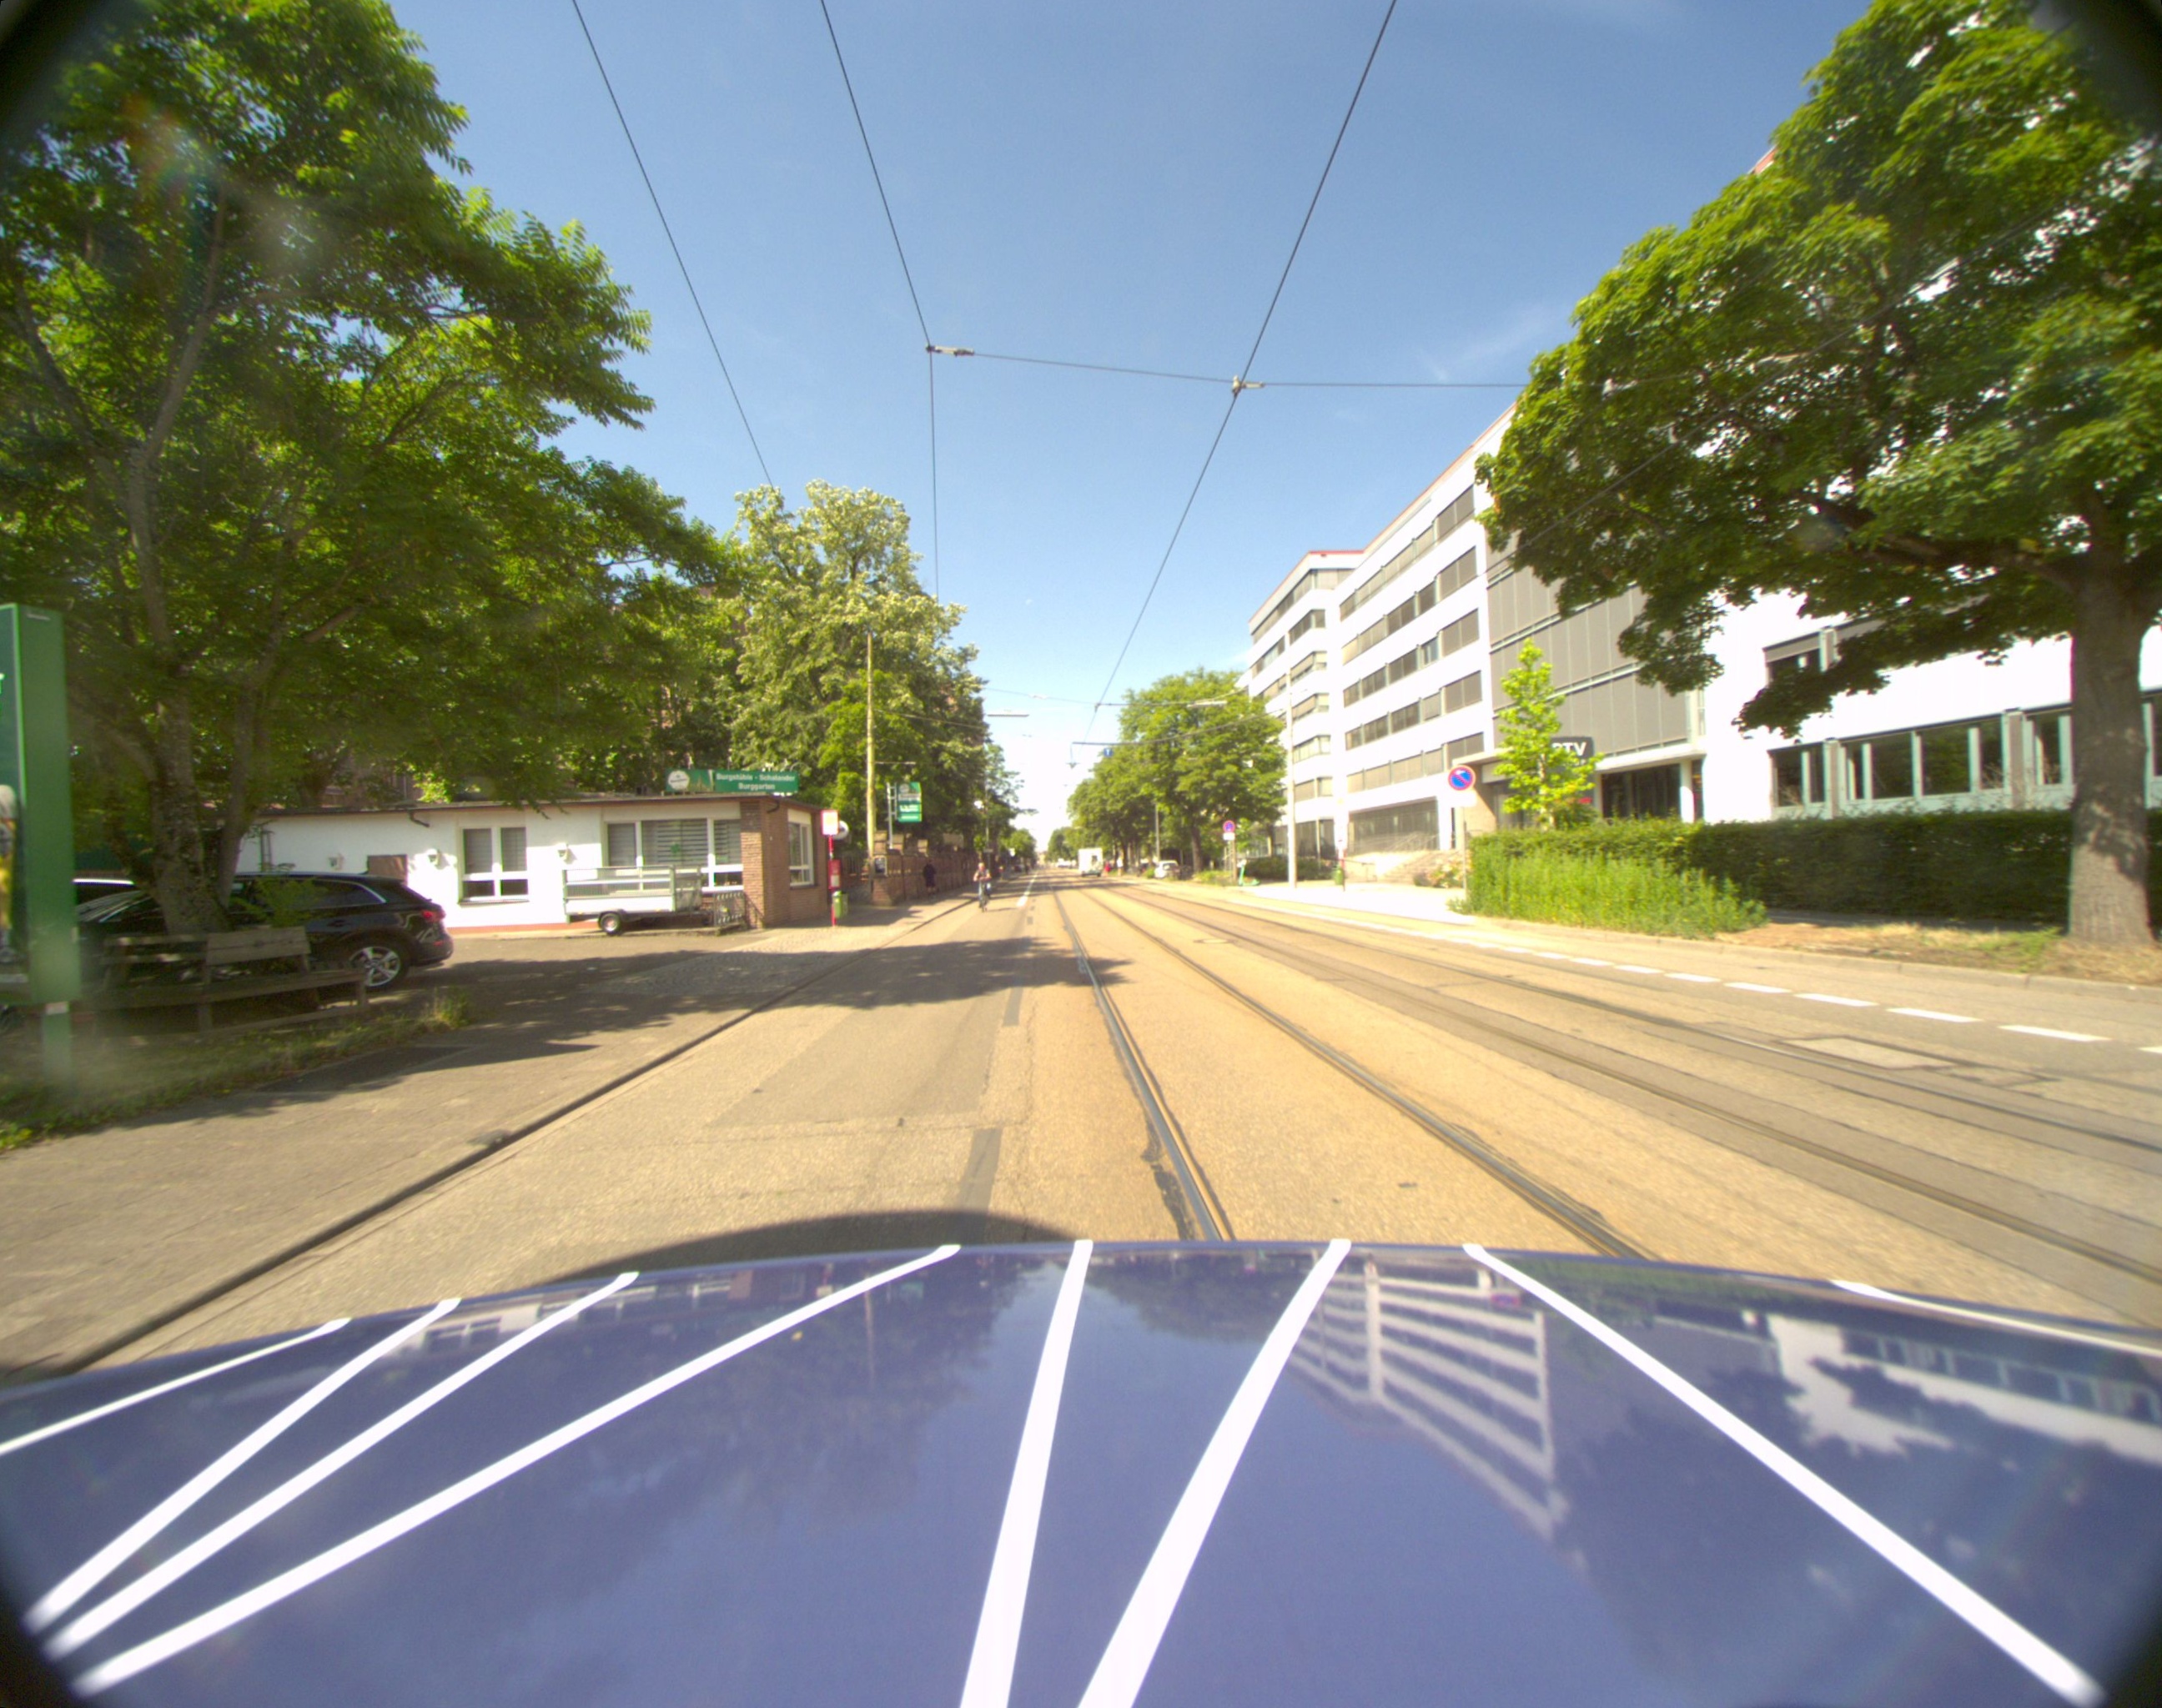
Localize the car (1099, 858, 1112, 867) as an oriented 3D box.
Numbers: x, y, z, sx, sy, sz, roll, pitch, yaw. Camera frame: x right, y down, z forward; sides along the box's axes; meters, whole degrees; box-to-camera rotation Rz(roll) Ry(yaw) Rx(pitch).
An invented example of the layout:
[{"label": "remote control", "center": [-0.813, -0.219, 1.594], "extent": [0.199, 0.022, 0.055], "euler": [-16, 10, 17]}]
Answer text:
[{"label": "car", "center": [4.015, 1.396, 123.614], "extent": [1.634, 1.347, 3.900], "euler": [-2, 0, -4]}]

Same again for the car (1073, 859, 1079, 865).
[{"label": "car", "center": [-1.410, 2.399, 228.290], "extent": [1.634, 1.935, 4.113], "euler": [-2, 0, -2]}]

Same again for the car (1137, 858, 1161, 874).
[{"label": "car", "center": [6.659, 1.173, 74.471], "extent": [1.634, 1.474, 4.271], "euler": [-2, 0, -5]}]

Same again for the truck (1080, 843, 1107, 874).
[{"label": "truck", "center": [1.237, 0.480, 79.645], "extent": [2.409, 3.090, 6.036], "euler": [-2, 0, -2]}]

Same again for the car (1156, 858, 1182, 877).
[{"label": "car", "center": [7.167, 1.090, 62.183], "extent": [1.634, 1.463, 3.630], "euler": [-2, 0, -1]}]

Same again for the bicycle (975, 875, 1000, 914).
[{"label": "bicycle", "center": [-3.241, 1.389, 26.502], "extent": [0.611, 1.190, 2.122], "euler": [-5, 0, -4]}]

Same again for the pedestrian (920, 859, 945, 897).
[{"label": "pedestrian", "center": [-7.238, 1.152, 37.103], "extent": [0.979, 1.805, 1.184], "euler": [2, 0, -2]}]

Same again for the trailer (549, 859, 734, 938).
[{"label": "trailer", "center": [-10.312, 1.011, 18.016], "extent": [3.282, 1.594, 1.723], "euler": [-3, 0, -1]}]

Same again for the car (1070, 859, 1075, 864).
[{"label": "car", "center": [-2.836, 2.326, 249.604], "extent": [1.634, 1.560, 4.113], "euler": [-2, 0, -2]}]

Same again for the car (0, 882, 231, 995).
[{"label": "car", "center": [-16.361, 1.313, 11.905], "extent": [1.842, 1.548, 4.008], "euler": [-2, 0, 42]}]

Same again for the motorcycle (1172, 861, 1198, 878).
[{"label": "motorcycle", "center": [7.348, 1.094, 53.829], "extent": [1.729, 1.080, 0.658], "euler": [-2, 0, -3]}]

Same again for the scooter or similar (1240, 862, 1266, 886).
[{"label": "scooter or similar", "center": [8.666, 1.003, 38.313], "extent": [1.128, 1.159, 0.676], "euler": [-2, 0, 0]}]

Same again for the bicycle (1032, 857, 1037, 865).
[{"label": "bicycle", "center": [-9.627, 1.462, 157.072], "extent": [0.999, 1.733, 3.162], "euler": [-4, 0, -2]}]

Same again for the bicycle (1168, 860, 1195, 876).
[{"label": "bicycle", "center": [7.431, 1.040, 56.121], "extent": [1.797, 1.080, 0.726], "euler": [-2, 0, -3]}]

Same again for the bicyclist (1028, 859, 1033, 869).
[{"label": "bicyclist", "center": [-8.141, 1.613, 123.117], "extent": [0.742, 1.522, 0.947], "euler": [-2, 0, -2]}]

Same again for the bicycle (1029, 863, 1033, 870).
[{"label": "bicycle", "center": [-8.107, 2.034, 123.238], "extent": [0.593, 1.099, 2.054], "euler": [-2, 0, -2]}]

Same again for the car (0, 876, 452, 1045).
[{"label": "car", "center": [-11.205, 1.190, 9.649], "extent": [2.015, 1.631, 4.669], "euler": [-2, 0, 42]}]

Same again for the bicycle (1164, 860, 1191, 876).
[{"label": "bicycle", "center": [7.298, 1.073, 57.323], "extent": [1.878, 1.135, 0.686], "euler": [-2, 0, -3]}]

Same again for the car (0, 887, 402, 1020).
[{"label": "car", "center": [-13.106, 1.344, 11.491], "extent": [1.842, 1.465, 4.008], "euler": [-1, 0, 42]}]

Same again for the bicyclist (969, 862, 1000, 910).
[{"label": "bicyclist", "center": [-3.316, 1.093, 26.240], "extent": [0.906, 1.586, 0.964], "euler": [-2, 0, -3]}]

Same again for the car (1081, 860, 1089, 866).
[{"label": "car", "center": [0.944, 2.173, 187.824], "extent": [1.634, 1.463, 4.113], "euler": [-2, 0, -2]}]

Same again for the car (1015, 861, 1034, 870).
[{"label": "car", "center": [-13.428, 2.746, 179.796], "extent": [4.007, 1.800, 1.885], "euler": [-2, 0, -39]}]

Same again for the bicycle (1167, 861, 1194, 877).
[{"label": "bicycle", "center": [7.397, 1.115, 56.649], "extent": [1.854, 1.125, 0.680], "euler": [-2, 0, -3]}]

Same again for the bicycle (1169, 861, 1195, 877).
[{"label": "bicycle", "center": [7.342, 1.111, 55.230], "extent": [1.729, 1.080, 0.639], "euler": [-2, 0, -3]}]

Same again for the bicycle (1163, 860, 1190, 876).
[{"label": "bicycle", "center": [7.267, 1.057, 57.969], "extent": [1.909, 1.162, 0.819], "euler": [-2, 0, -3]}]

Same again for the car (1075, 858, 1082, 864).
[{"label": "car", "center": [-0.649, 1.830, 207.758], "extent": [1.634, 1.463, 4.113], "euler": [-2, 0, -2]}]

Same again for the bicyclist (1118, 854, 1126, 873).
[{"label": "bicyclist", "center": [4.045, 0.954, 75.752], "extent": [0.637, 1.860, 1.024], "euler": [-2, 0, -3]}]

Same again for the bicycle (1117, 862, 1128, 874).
[{"label": "bicycle", "center": [4.132, 1.394, 75.682], "extent": [0.858, 1.103, 2.139], "euler": [-2, 0, -3]}]

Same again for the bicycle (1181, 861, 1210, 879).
[{"label": "bicycle", "center": [7.773, 1.082, 51.635], "extent": [1.729, 1.080, 0.789], "euler": [-2, 0, -3]}]
